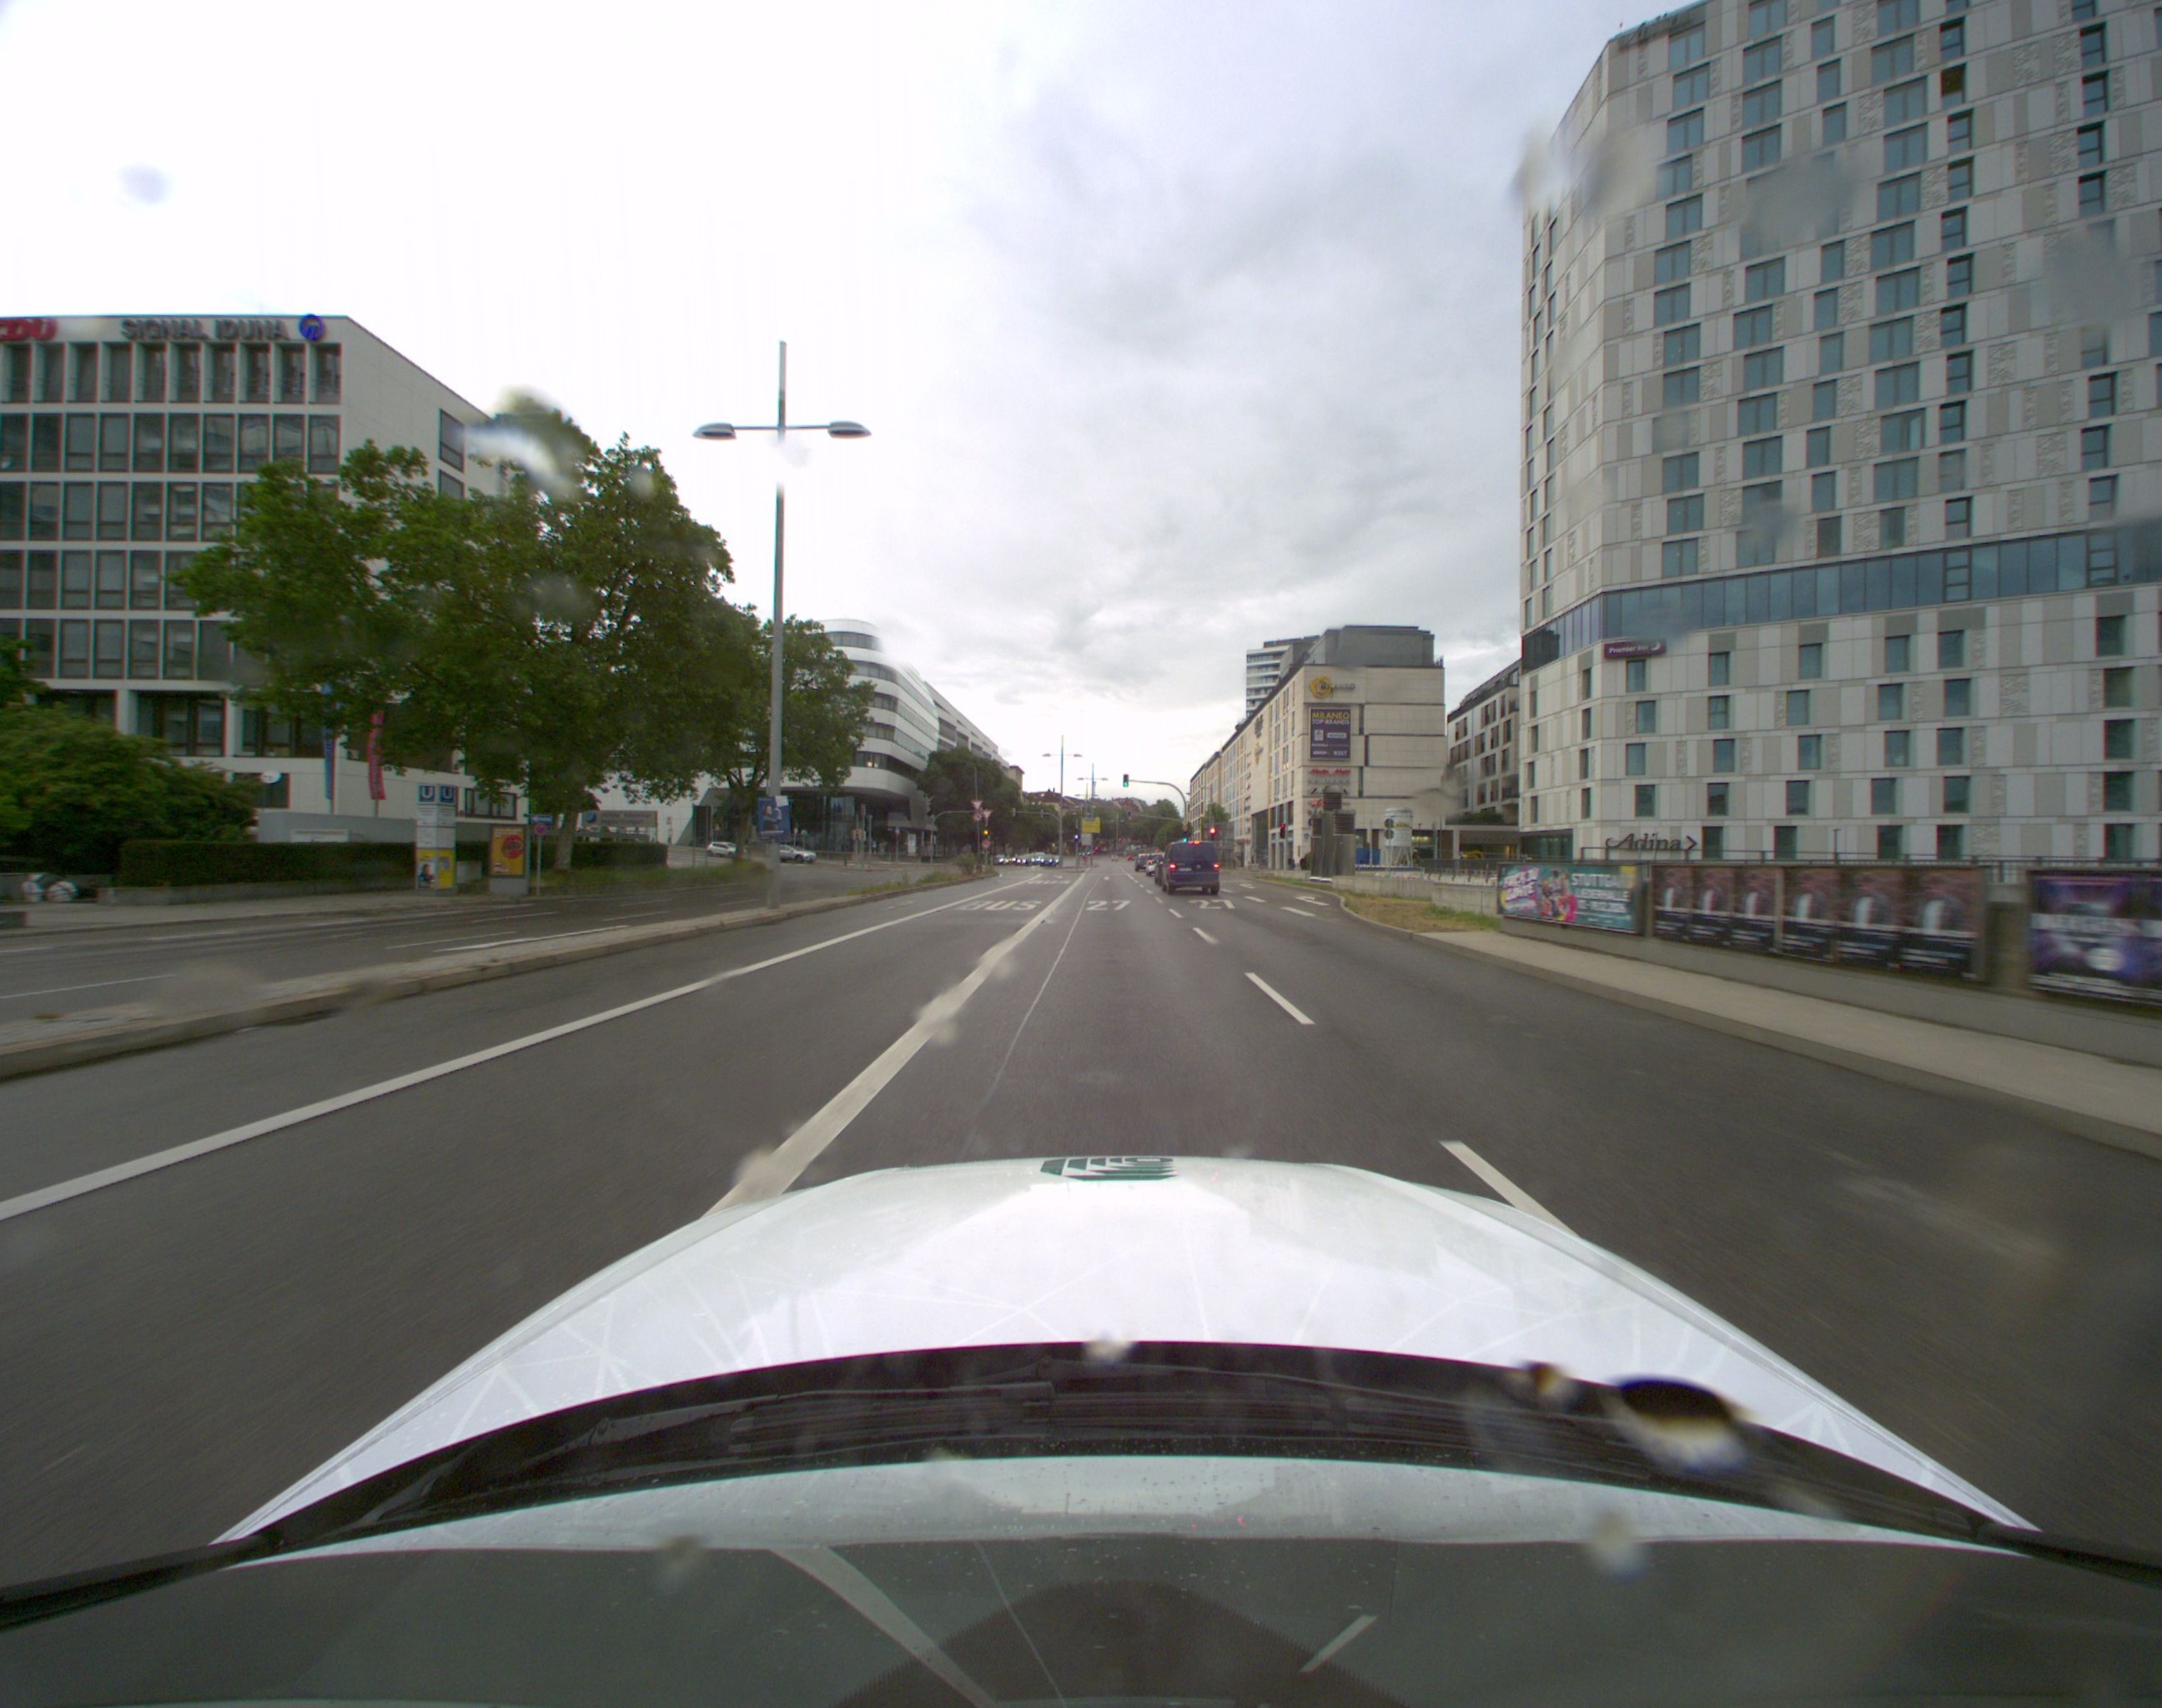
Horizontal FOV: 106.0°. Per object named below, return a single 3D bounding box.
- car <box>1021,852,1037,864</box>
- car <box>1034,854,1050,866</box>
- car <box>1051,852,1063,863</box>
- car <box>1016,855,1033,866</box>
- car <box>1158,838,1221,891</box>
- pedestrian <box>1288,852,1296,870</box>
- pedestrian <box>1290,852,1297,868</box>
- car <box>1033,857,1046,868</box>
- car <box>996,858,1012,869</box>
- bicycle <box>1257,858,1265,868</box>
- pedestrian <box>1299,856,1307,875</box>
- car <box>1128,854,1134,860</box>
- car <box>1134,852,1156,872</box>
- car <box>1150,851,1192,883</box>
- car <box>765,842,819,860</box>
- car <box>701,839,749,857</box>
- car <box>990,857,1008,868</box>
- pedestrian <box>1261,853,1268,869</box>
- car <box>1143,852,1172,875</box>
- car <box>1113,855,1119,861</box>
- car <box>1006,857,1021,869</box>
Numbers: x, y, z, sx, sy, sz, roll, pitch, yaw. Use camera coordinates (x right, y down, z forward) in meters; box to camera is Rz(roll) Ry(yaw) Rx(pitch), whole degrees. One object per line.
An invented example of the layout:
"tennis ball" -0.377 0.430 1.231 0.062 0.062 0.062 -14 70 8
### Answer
"car" -7.100 0.581 111.194 1.736 1.559 3.541 0 -1 2
"car" -4.859 0.773 102.352 1.736 1.444 3.396 0 -1 2
"car" -3.433 0.522 116.774 1.532 1.478 3.698 0 -1 2
"car" -7.135 0.818 103.611 1.736 1.257 3.542 1 0 2
"car" 4.122 0.364 31.695 2.024 1.882 5.045 -1 0 3
"pedestrian" 20.093 0.681 77.515 0.619 1.672 0.824 0 -1 2
"pedestrian" 21.628 0.641 83.004 0.588 1.642 0.591 -1 -2 27
"car" -6.306 1.307 124.623 1.736 1.748 3.541 0 -1 2
"car" -10.508 1.256 110.898 1.736 1.424 3.541 0 -1 2
"bicycle" 18.519 0.886 83.792 0.447 1.016 1.743 0 -1 3
"pedestrian" 21.150 1.062 77.533 0.442 1.780 0.590 0 -2 -28
"car" 14.772 0.908 241.003 1.733 1.531 3.816 0 -1 2
"car" 5.402 0.705 69.024 1.733 1.531 3.816 -2 -1 2
"car" 4.385 0.598 40.178 1.784 1.507 4.341 0 0 2
"car" -27.111 -0.260 76.439 4.465 1.631 1.903 -1 -1 18
"car" -34.596 -0.551 79.178 3.955 1.631 1.903 -1 -1 18
"car" -10.250 1.108 102.167 1.736 1.328 4.228 0 -1 2
"pedestrian" 18.872 0.700 83.740 0.548 1.611 0.698 0 -1 2
"car" 5.104 0.662 54.876 1.717 1.531 3.816 0 -1 2
"car" 9.768 1.123 228.824 1.733 1.531 3.816 0 0 2
"car" -9.644 1.303 116.449 1.736 1.559 3.541 0 -1 2
